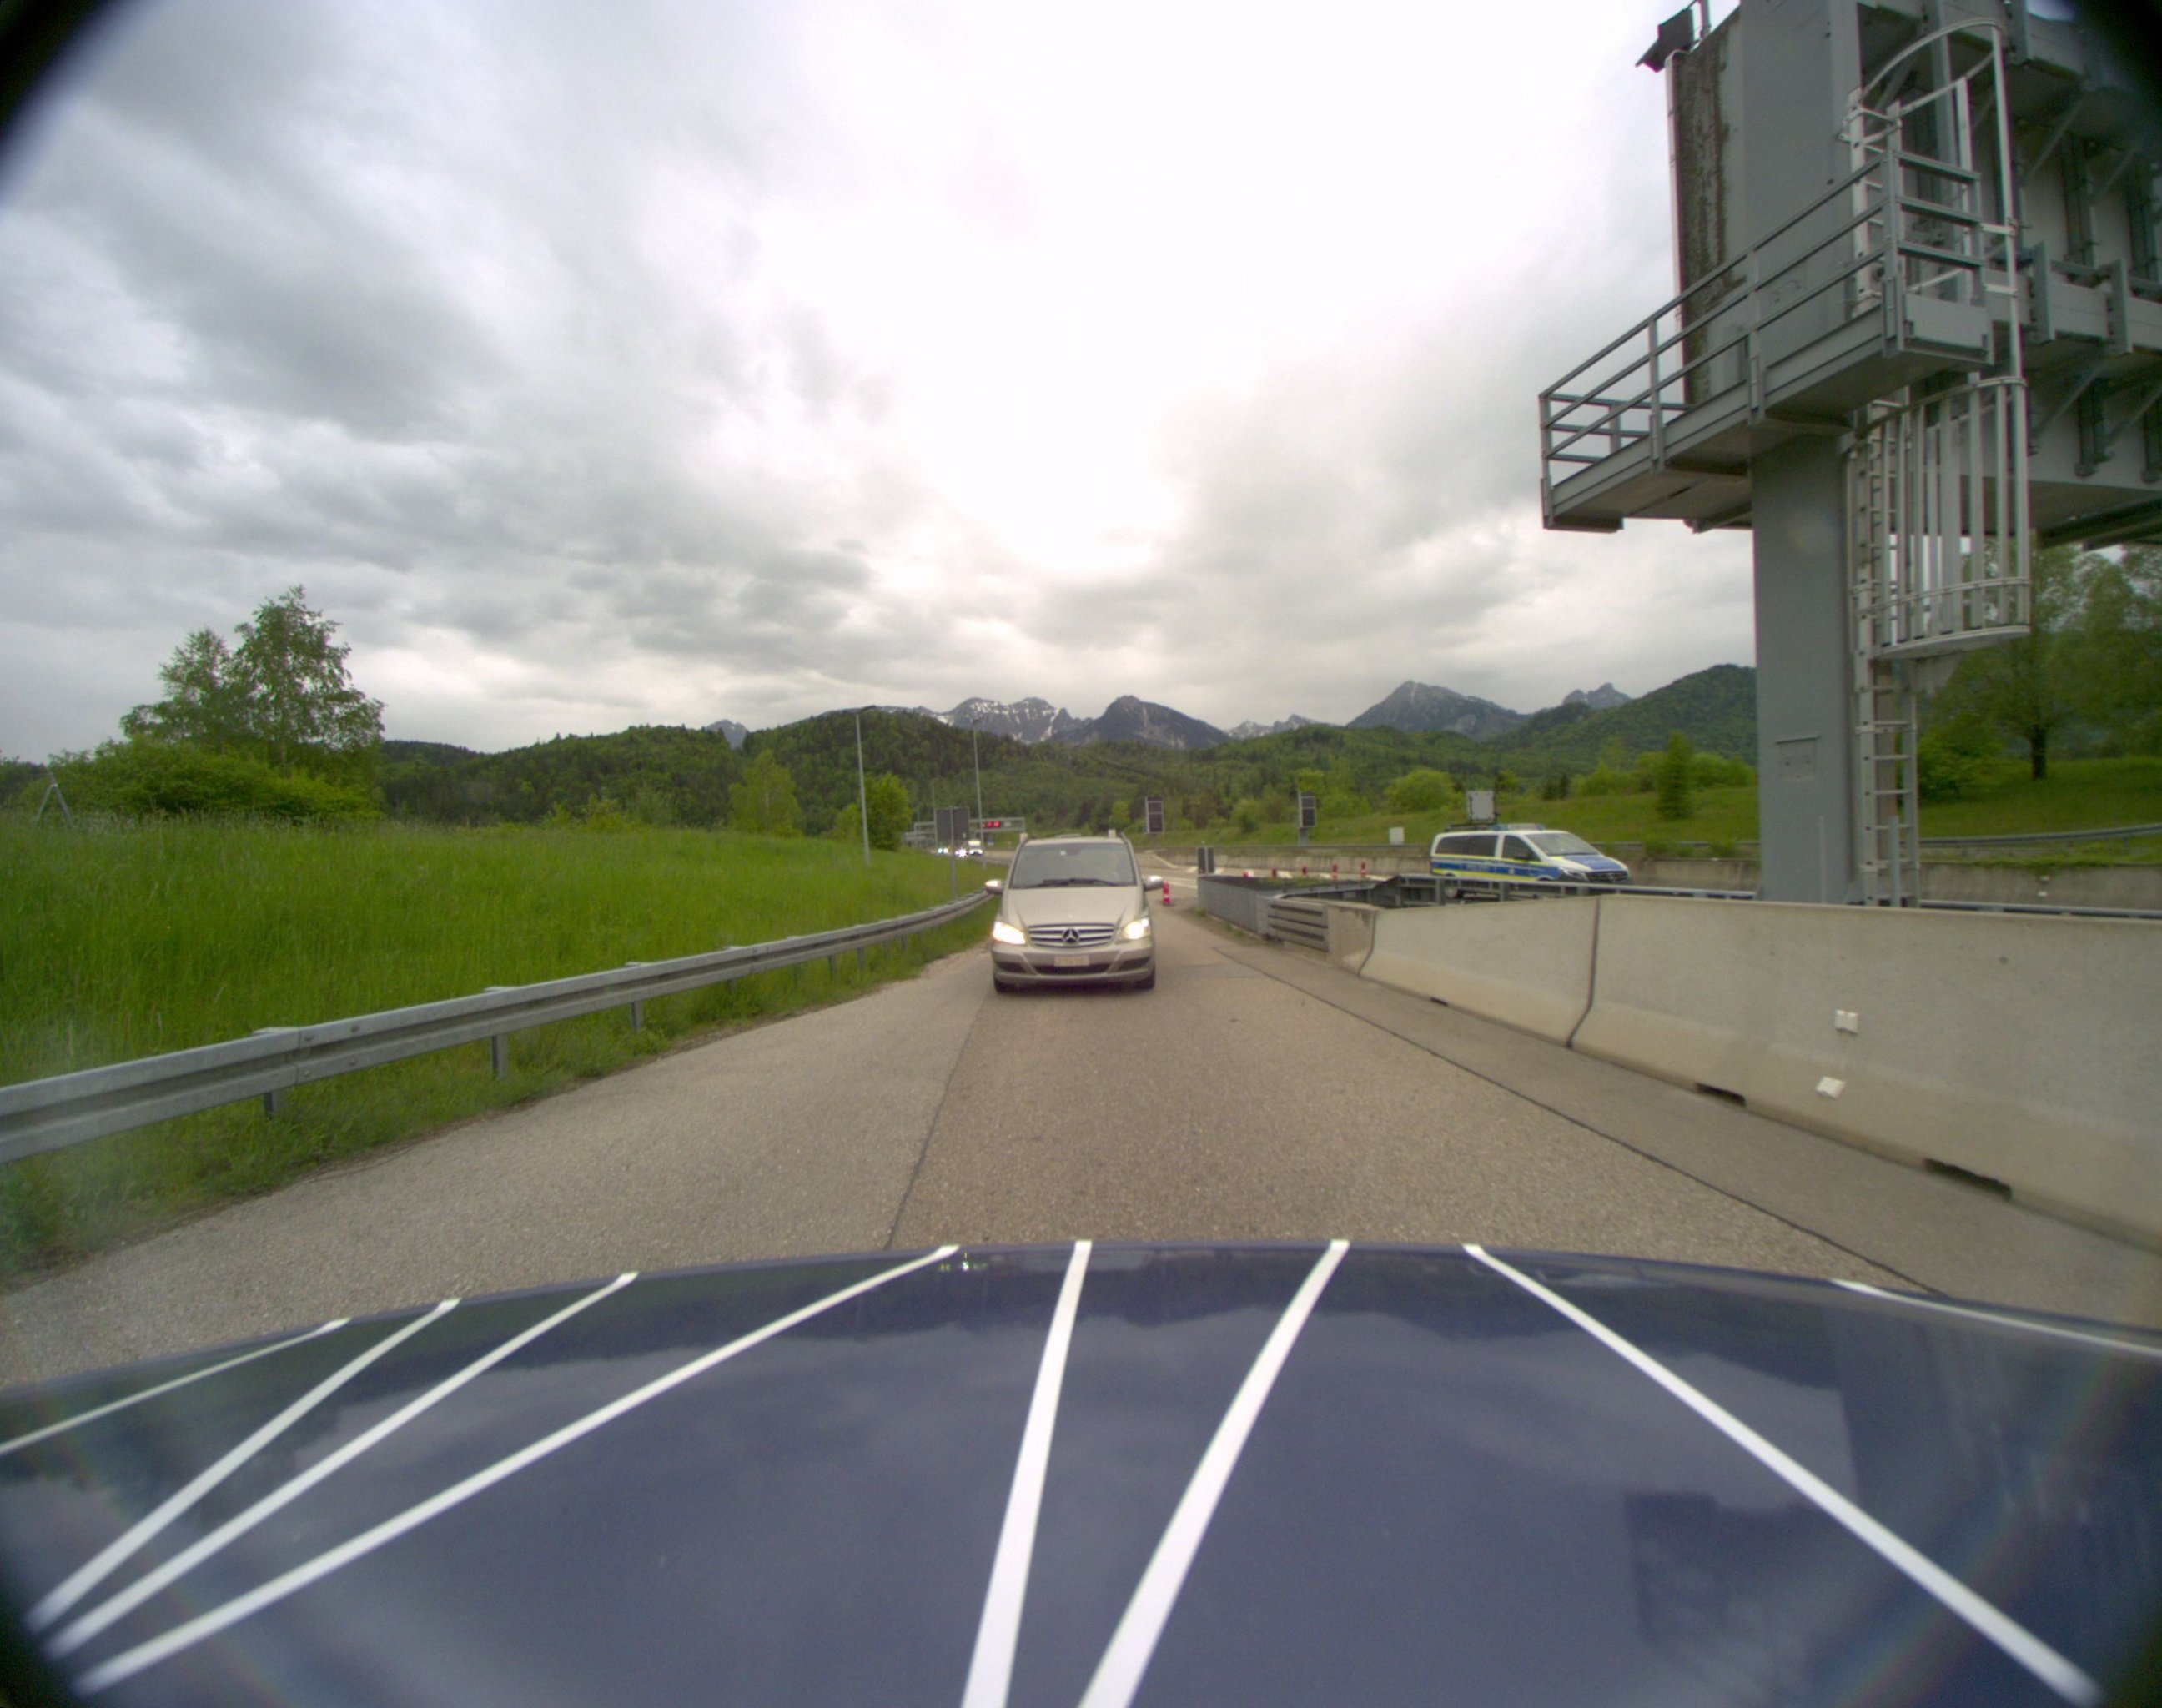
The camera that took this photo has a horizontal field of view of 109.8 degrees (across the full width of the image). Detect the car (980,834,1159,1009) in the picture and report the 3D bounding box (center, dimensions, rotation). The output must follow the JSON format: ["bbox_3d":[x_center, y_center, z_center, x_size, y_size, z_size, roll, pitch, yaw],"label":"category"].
[{"bbox_3d":[-0.090,0.688,10.881,1.862,1.833,5.616,-1,1,1],"label":"car"}]

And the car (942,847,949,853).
[{"bbox_3d":[-40.078,-1.192,224.299,1.722,1.629,4.342,-2,1,-15],"label":"car"}]

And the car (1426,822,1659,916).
[{"bbox_3d":[11.312,0.293,19.192,2.106,2.002,5.045,-2,1,-13],"label":"car"}]

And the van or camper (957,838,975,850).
[{"bbox_3d":[-26.389,-2.275,174.656,3.345,2.629,8.190,-2,1,-13],"label":"van or camper"}]

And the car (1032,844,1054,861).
[{"bbox_3d":[-4.011,-0.155,79.743,1.767,1.759,3.996,-2,1,-11],"label":"car"}]

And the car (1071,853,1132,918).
[{"bbox_3d":[0.588,0.834,22.110,1.591,1.662,4.000,-1,0,1],"label":"car"}]

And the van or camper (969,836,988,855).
[{"bbox_3d":[-19.510,-1.566,144.008,2.585,3.372,7.345,-2,1,-15],"label":"van or camper"}]

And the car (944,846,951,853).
[{"bbox_3d":[-39.379,-1.367,223.830,1.868,1.861,3.995,-1,1,-11],"label":"car"}]
